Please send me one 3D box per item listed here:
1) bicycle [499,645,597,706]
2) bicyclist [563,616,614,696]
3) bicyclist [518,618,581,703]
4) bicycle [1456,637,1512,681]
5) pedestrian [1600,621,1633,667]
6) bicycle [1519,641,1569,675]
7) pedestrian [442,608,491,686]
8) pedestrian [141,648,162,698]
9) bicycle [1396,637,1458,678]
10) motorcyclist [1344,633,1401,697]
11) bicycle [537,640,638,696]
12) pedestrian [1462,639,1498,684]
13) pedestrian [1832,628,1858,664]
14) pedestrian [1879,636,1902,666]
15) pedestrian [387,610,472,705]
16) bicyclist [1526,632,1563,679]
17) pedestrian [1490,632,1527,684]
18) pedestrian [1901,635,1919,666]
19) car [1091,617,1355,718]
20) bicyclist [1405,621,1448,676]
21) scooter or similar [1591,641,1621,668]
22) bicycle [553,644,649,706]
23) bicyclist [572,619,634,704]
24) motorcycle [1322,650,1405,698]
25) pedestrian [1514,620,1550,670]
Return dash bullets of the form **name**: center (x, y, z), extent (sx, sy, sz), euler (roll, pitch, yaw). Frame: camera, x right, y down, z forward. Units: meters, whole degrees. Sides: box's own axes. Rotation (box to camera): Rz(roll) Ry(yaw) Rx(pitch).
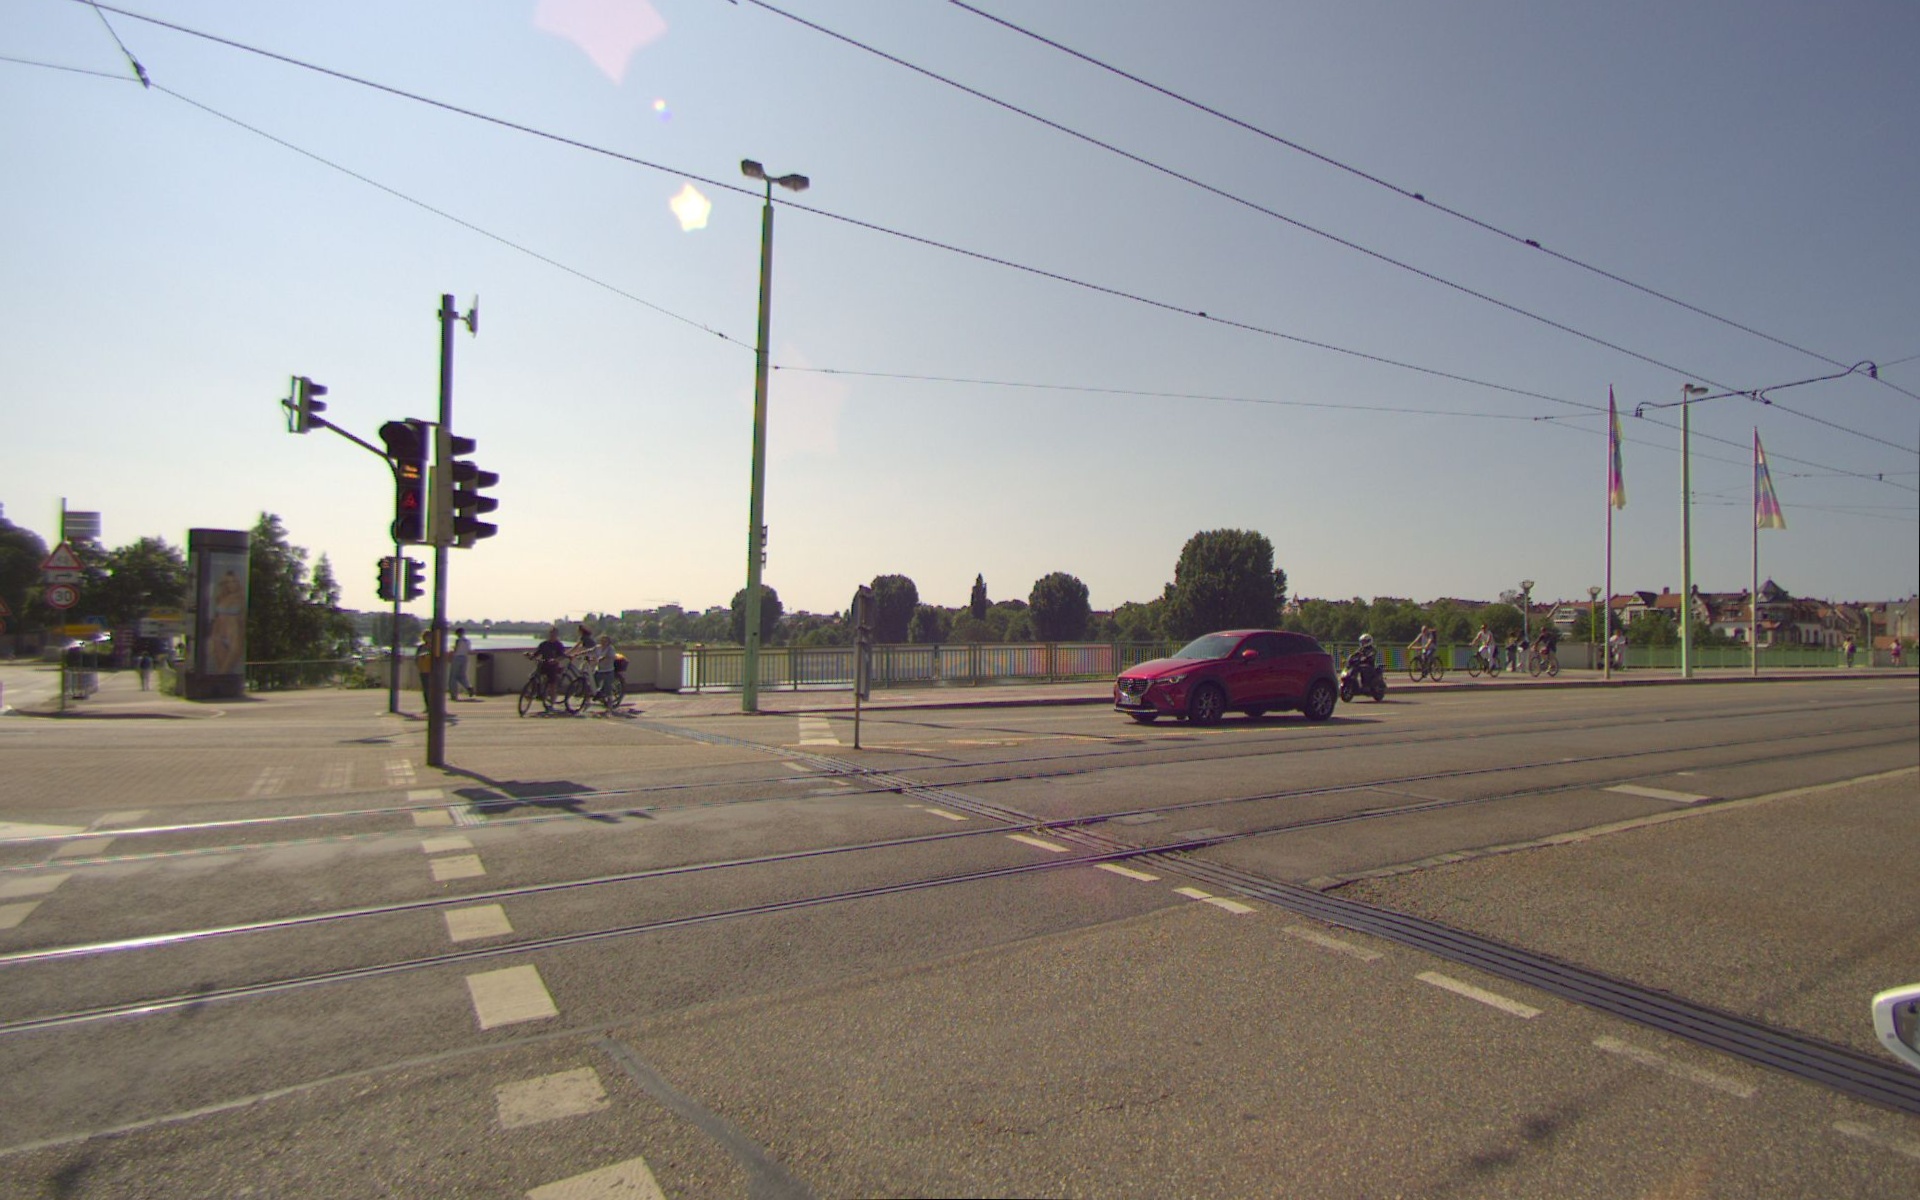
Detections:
- **bicycle**: center (-8.167, 1.473, 20.032), extent (0.746, 1.128, 1.921), euler (1, -2, 16)
- **bicyclist**: center (-8.135, 1.221, 21.999), extent (0.757, 1.696, 0.879), euler (2, -2, -3)
- **bicyclist**: center (-8.157, 1.185, 20.003), extent (0.756, 1.630, 0.880), euler (1, -2, 8)
- **bicycle**: center (17.748, 1.987, 33.982), extent (2.141, 1.418, 0.700), euler (2, 2, -35)
- **pedestrian**: center (27.578, 1.852, 42.193), extent (0.965, 1.878, 0.734), euler (2, 2, -34)
- **bicycle**: center (20.637, 2.051, 35.498), extent (1.899, 1.128, 0.754), euler (3, -2, -32)
- **pedestrian**: center (-11.647, 1.100, 23.718), extent (0.687, 1.816, 0.696), euler (1, -2, 15)
- **pedestrian**: center (-39.378, 3.533, 48.938), extent (0.627, 2.386, 0.656), euler (0, -1, 41)
- **bicycle**: center (14.123, 1.727, 30.373), extent (1.898, 1.129, 0.755), euler (0, 1, -31)
- **motorcyclist**: center (9.627, 1.514, 23.448), extent (0.889, 1.420, 0.839), euler (2, -1, -34)
- **bicycle**: center (-8.133, 1.479, 21.987), extent (1.883, 1.128, 0.761), euler (2, -2, -4)
- **pedestrian**: center (17.537, 2.083, 33.869), extent (0.889, 1.474, 0.739), euler (3, -2, -32)
- **pedestrian**: center (50.276, 2.610, 57.068), extent (1.031, 2.040, 0.893), euler (2, -1, -34)
- **pedestrian**: center (55.626, 3.072, 60.031), extent (1.164, 1.745, 0.749), euler (3, -2, -35)
- **pedestrian**: center (-10.637, 1.134, 20.168), extent (0.921, 1.826, 1.159), euler (1, -1, 15)
- **bicyclist**: center (20.678, 1.961, 35.546), extent (0.763, 1.630, 0.872), euler (3, -2, -32)
- **pedestrian**: center (20.823, 2.188, 38.138), extent (1.110, 1.874, 0.734), euler (2, 2, -35)
- **pedestrian**: center (56.365, 2.951, 59.168), extent (1.282, 1.781, 1.090), euler (1, -1, -35)
- **car**: center (4.485, 1.140, 17.062), extent (4.139, 1.534, 1.985), euler (3, -3, -29)
- **bicyclist**: center (14.109, 1.468, 30.370), extent (0.763, 1.630, 0.873), euler (0, -2, -30)
- **scooter or similar**: center (26.816, 2.266, 41.681), extent (0.824, 1.043, 0.734), euler (2, 2, -34)
- **bicycle**: center (-7.163, 1.471, 20.131), extent (0.746, 1.128, 1.920), euler (1, -1, 20)
- **bicyclist**: center (-7.151, 1.212, 20.148), extent (0.862, 1.630, 0.772), euler (1, -1, 21)
- **motorcycle**: center (9.352, 1.706, 23.260), extent (1.931, 1.038, 0.839), euler (2, -1, -34)
- **pedestrian**: center (21.356, 1.684, 37.516), extent (0.948, 1.808, 0.734), euler (2, 2, -34)
